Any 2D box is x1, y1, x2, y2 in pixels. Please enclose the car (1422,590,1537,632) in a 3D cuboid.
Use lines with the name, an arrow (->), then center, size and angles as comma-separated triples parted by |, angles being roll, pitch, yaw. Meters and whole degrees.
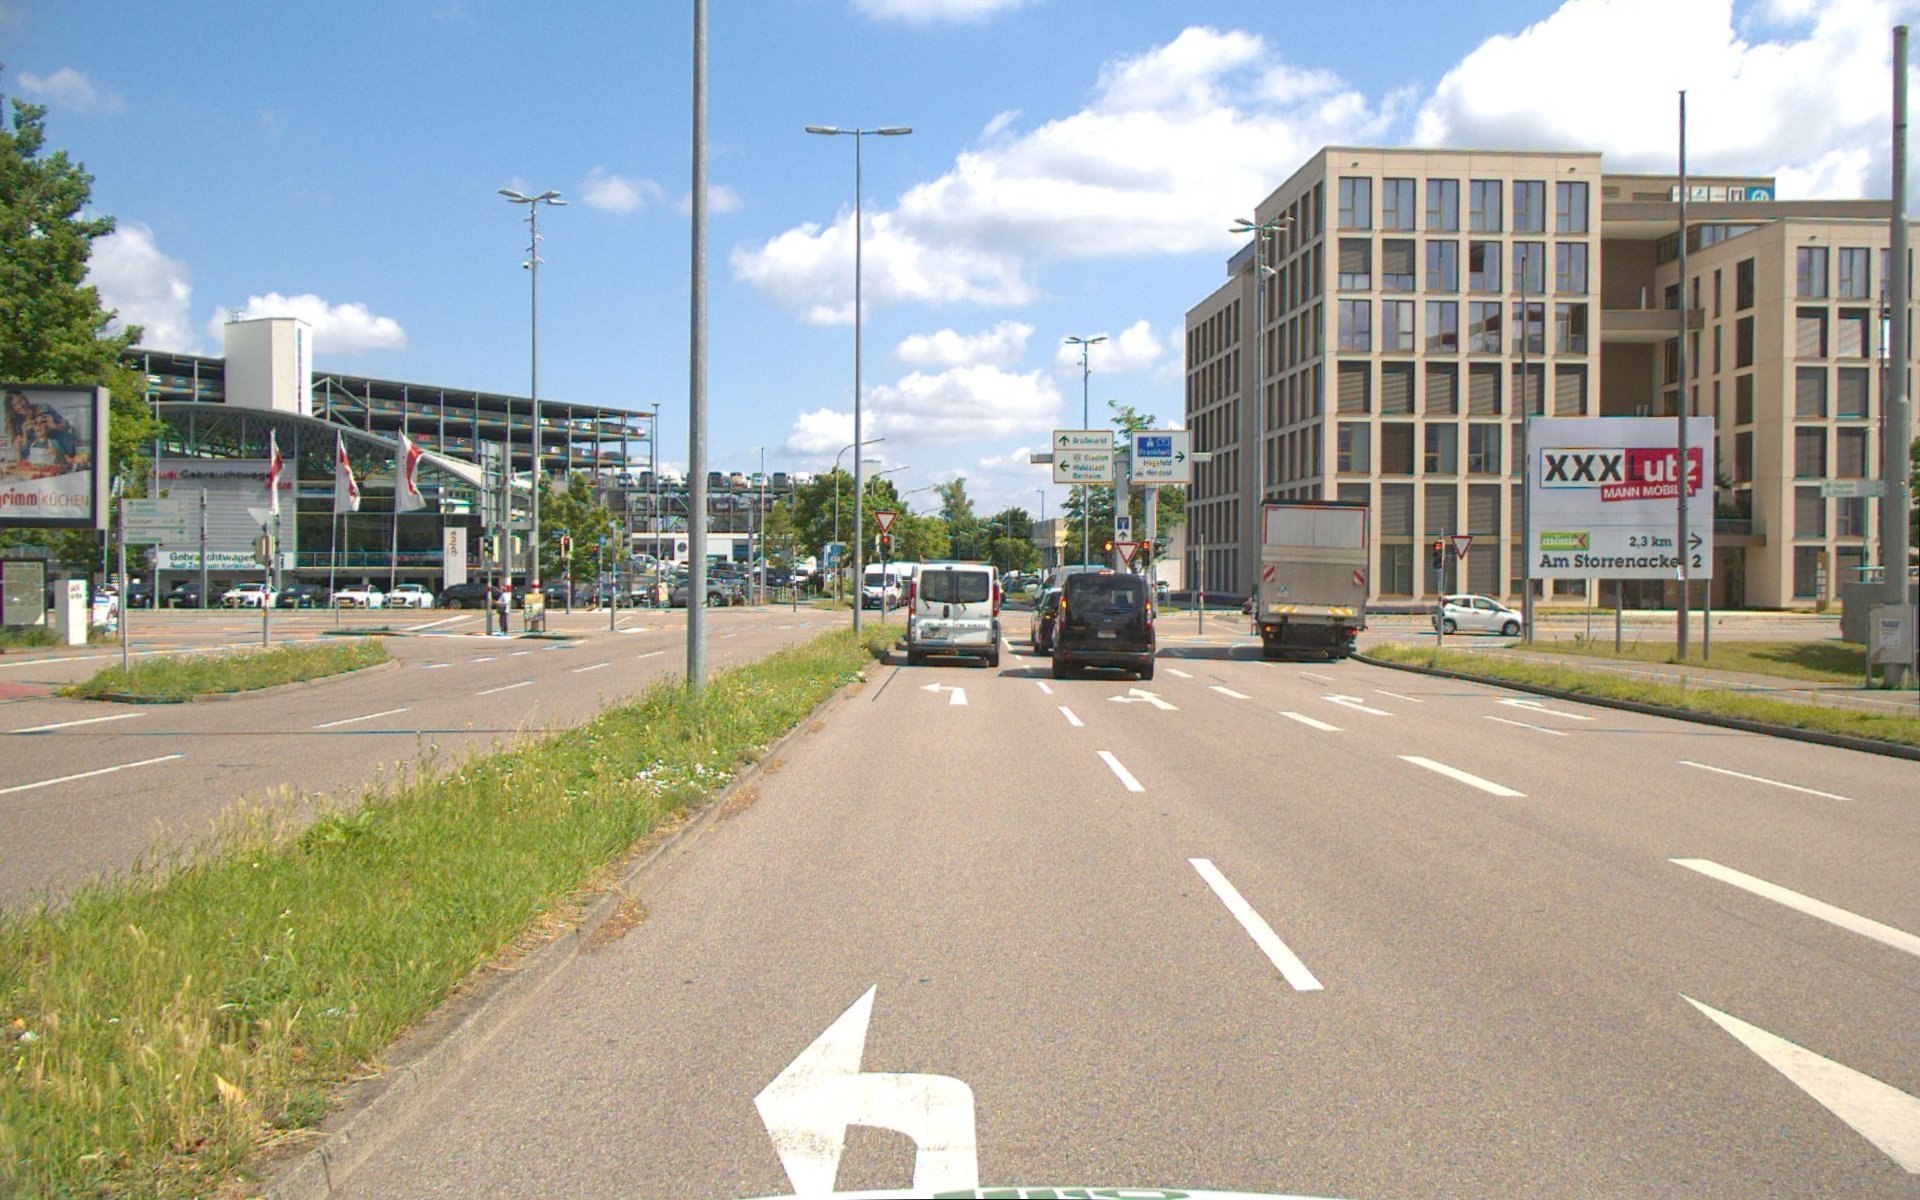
car -> 19.511, 0.411, 62.156 | 3.772, 1.492, 1.695 | 1, 1, -1

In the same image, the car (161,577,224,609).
car -> -39.358, -0.378, 84.893 | 1.693, 1.512, 3.699 | 1, 1, -4

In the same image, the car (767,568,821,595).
car -> -12.401, -1.382, 123.365 | 3.911, 1.959, 1.824 | 1, 0, -7

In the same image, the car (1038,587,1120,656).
car -> 2.829, 0.489, 39.901 | 1.704, 1.521, 4.000 | 1, 0, 1

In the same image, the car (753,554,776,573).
car -> -16.990, -3.169, 144.147 | 1.810, 1.556, 3.997 | 1, 1, -4

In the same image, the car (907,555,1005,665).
car -> -0.029, 0.187, 33.656 | 1.817, 2.053, 4.001 | 1, 0, 2

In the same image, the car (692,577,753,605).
car -> -15.725, -0.607, 109.696 | 3.835, 1.742, 1.688 | -1, 1, -4

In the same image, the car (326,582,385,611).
car -> -31.241, -0.214, 85.506 | 1.870, 1.400, 3.750 | 1, 1, -4

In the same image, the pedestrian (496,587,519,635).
pedestrian -> -14.425, 0.346, 52.690 | 0.460, 1.538, 0.511 | 1, 0, 25

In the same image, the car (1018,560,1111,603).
car -> 5.862, -1.068, 93.437 | 1.982, 2.294, 5.434 | 0, 1, -40

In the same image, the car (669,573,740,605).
car -> -14.570, -0.651, 94.378 | 3.835, 1.742, 1.688 | -1, 1, -4

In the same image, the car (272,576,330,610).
car -> -33.940, -0.382, 85.258 | 1.722, 1.689, 3.614 | 1, 1, -4

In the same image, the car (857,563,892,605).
car -> -4.913, -0.929, 94.740 | 1.932, 2.295, 4.977 | -1, 1, -3

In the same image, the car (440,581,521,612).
car -> -24.841, -0.171, 85.749 | 3.718, 1.539, 1.677 | 1, 1, -6

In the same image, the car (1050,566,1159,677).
car -> 2.580, 0.349, 30.255 | 1.782, 1.840, 4.002 | 1, 1, 3

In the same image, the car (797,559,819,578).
car -> -13.236, -2.753, 144.407 | 1.810, 1.556, 3.997 | 1, 1, -4

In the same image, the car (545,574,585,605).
car -> -20.602, -0.549, 86.243 | 1.788, 1.579, 3.981 | 1, 0, -17

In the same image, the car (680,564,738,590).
car -> -18.572, -1.716, 122.570 | 4.085, 1.742, 1.687 | 2, 1, -6

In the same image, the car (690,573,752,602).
car -> -15.496, -0.816, 107.469 | 3.835, 1.742, 1.688 | -1, 1, -4

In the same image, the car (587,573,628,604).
car -> -18.539, -0.614, 86.833 | 1.788, 1.579, 3.981 | 1, 0, -17

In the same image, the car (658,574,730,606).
car -> -14.752, -0.543, 91.856 | 3.785, 1.668, 1.857 | -1, 1, -4

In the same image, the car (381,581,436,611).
car -> -28.608, -0.230, 85.939 | 1.741, 1.475, 4.027 | 1, 1, -4

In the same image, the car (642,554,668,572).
car -> -26.783, -3.245, 145.215 | 1.810, 1.556, 3.997 | 1, 1, -4

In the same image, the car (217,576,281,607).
car -> -36.566, -0.459, 85.144 | 1.842, 1.512, 3.699 | 1, 1, -4

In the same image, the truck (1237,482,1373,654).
truck -> 9.028, -0.769, 43.408 | 3.063, 4.009, 8.865 | 1, 0, 12
